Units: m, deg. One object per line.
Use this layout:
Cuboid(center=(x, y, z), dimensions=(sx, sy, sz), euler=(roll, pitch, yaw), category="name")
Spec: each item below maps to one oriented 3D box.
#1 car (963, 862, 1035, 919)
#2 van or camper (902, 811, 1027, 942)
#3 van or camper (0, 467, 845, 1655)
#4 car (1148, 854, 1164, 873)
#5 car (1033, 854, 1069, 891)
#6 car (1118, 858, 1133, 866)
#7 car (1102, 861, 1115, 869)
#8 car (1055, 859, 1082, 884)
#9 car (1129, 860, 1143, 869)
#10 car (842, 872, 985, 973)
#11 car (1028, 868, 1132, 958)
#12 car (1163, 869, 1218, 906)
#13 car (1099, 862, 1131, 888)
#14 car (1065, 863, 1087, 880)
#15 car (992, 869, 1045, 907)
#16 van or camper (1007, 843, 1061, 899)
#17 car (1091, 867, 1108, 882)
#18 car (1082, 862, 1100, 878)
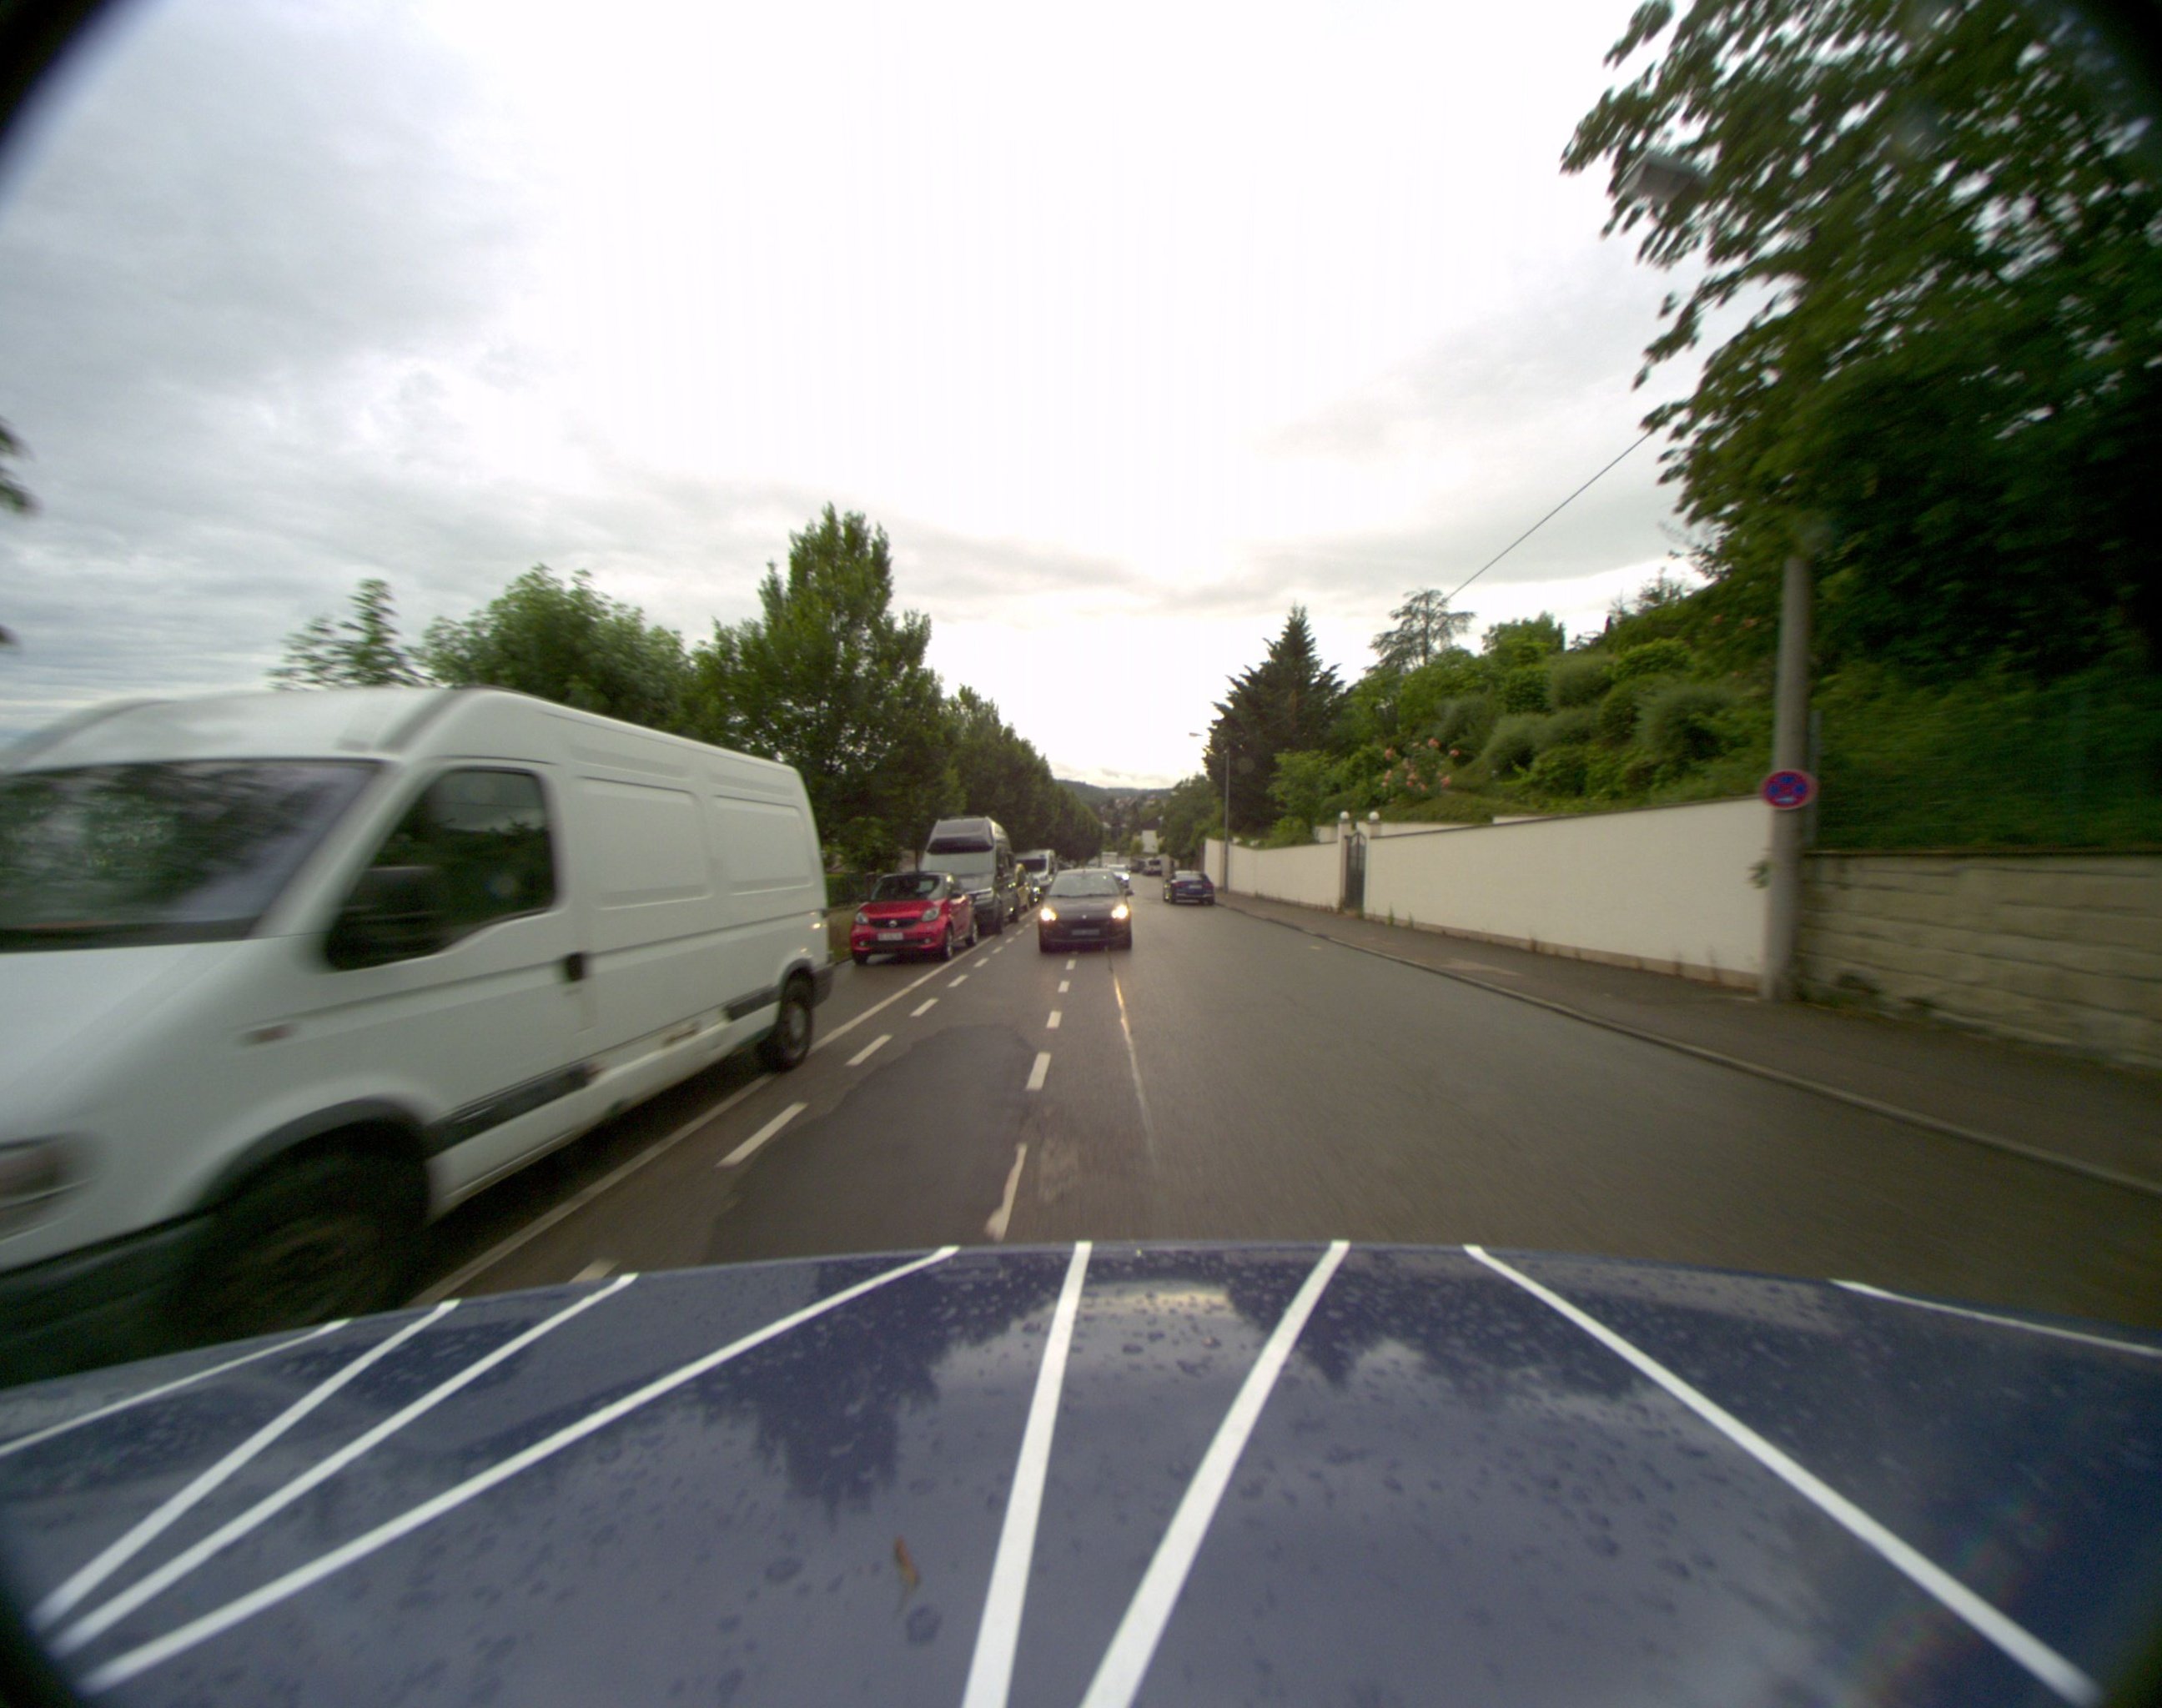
Cuboid(center=(-2.759, 1.201, 26.489), dimensions=(1.724, 1.738, 4.404), euler=(-3, -1, 3), category="car")
Cuboid(center=(-2.842, 0.532, 20.022), dimensions=(2.129, 2.892, 5.729), euler=(-2, 0, 2), category="van or camper")
Cuboid(center=(-3.331, 0.492, 4.010), dimensions=(2.078, 2.645, 5.597), euler=(-2, 0, 3), category="van or camper")
Cuboid(center=(10.402, 1.333, 105.133), dimensions=(2.108, 2.468, 4.567), euler=(1, 0, 6), category="car")
Cuboid(center=(-1.793, 1.093, 47.165), dimensions=(1.724, 2.125, 4.404), euler=(-3, 0, 3), category="car")
Cuboid(center=(8.135, 1.408, 137.911), dimensions=(1.852, 1.488, 3.764), euler=(0, 0, -11), category="car")
Cuboid(center=(5.455, 2.102, 150.005), dimensions=(1.852, 1.488, 3.764), euler=(1, 0, -11), category="car")
Cuboid(center=(-0.973, 1.357, 59.843), dimensions=(1.724, 1.844, 4.404), euler=(-3, 0, 3), category="car")
Cuboid(center=(9.408, 1.816, 130.882), dimensions=(1.851, 1.488, 3.766), euler=(0, 0, -4), category="car")
Cuboid(center=(-2.951, 1.160, 14.187), dimensions=(1.686, 1.531, 3.834), euler=(-1, 0, 2), category="car")
Cuboid(center=(0.123, 1.035, 15.144), dimensions=(1.783, 1.477, 4.407), euler=(0, 0, 4), category="car")
Cuboid(center=(4.597, 1.392, 32.475), dimensions=(1.812, 1.421, 4.254), euler=(1, 0, 1), category="car")
Cuboid(center=(2.510, 1.494, 55.102), dimensions=(2.190, 1.698, 4.885), euler=(1, -1, 4), category="car")
Cuboid(center=(-0.466, 1.608, 70.454), dimensions=(1.724, 1.494, 4.202), euler=(-3, -1, 3), category="car")
Cuboid(center=(-2.575, 1.394, 32.295), dimensions=(1.725, 1.366, 4.403), euler=(-3, -1, 1), category="car")
Cuboid(center=(-2.325, 0.843, 39.180), dimensions=(2.169, 2.540, 5.617), euler=(-3, 0, 2), category="van or camper")
Cuboid(center=(2.230, 2.381, 90.385), dimensions=(1.724, 1.618, 4.404), euler=(-3, -1, 3), category="car")
Cuboid(center=(1.082, 1.704, 81.045), dimensions=(1.724, 1.618, 4.404), euler=(-3, -1, 3), category="car")
